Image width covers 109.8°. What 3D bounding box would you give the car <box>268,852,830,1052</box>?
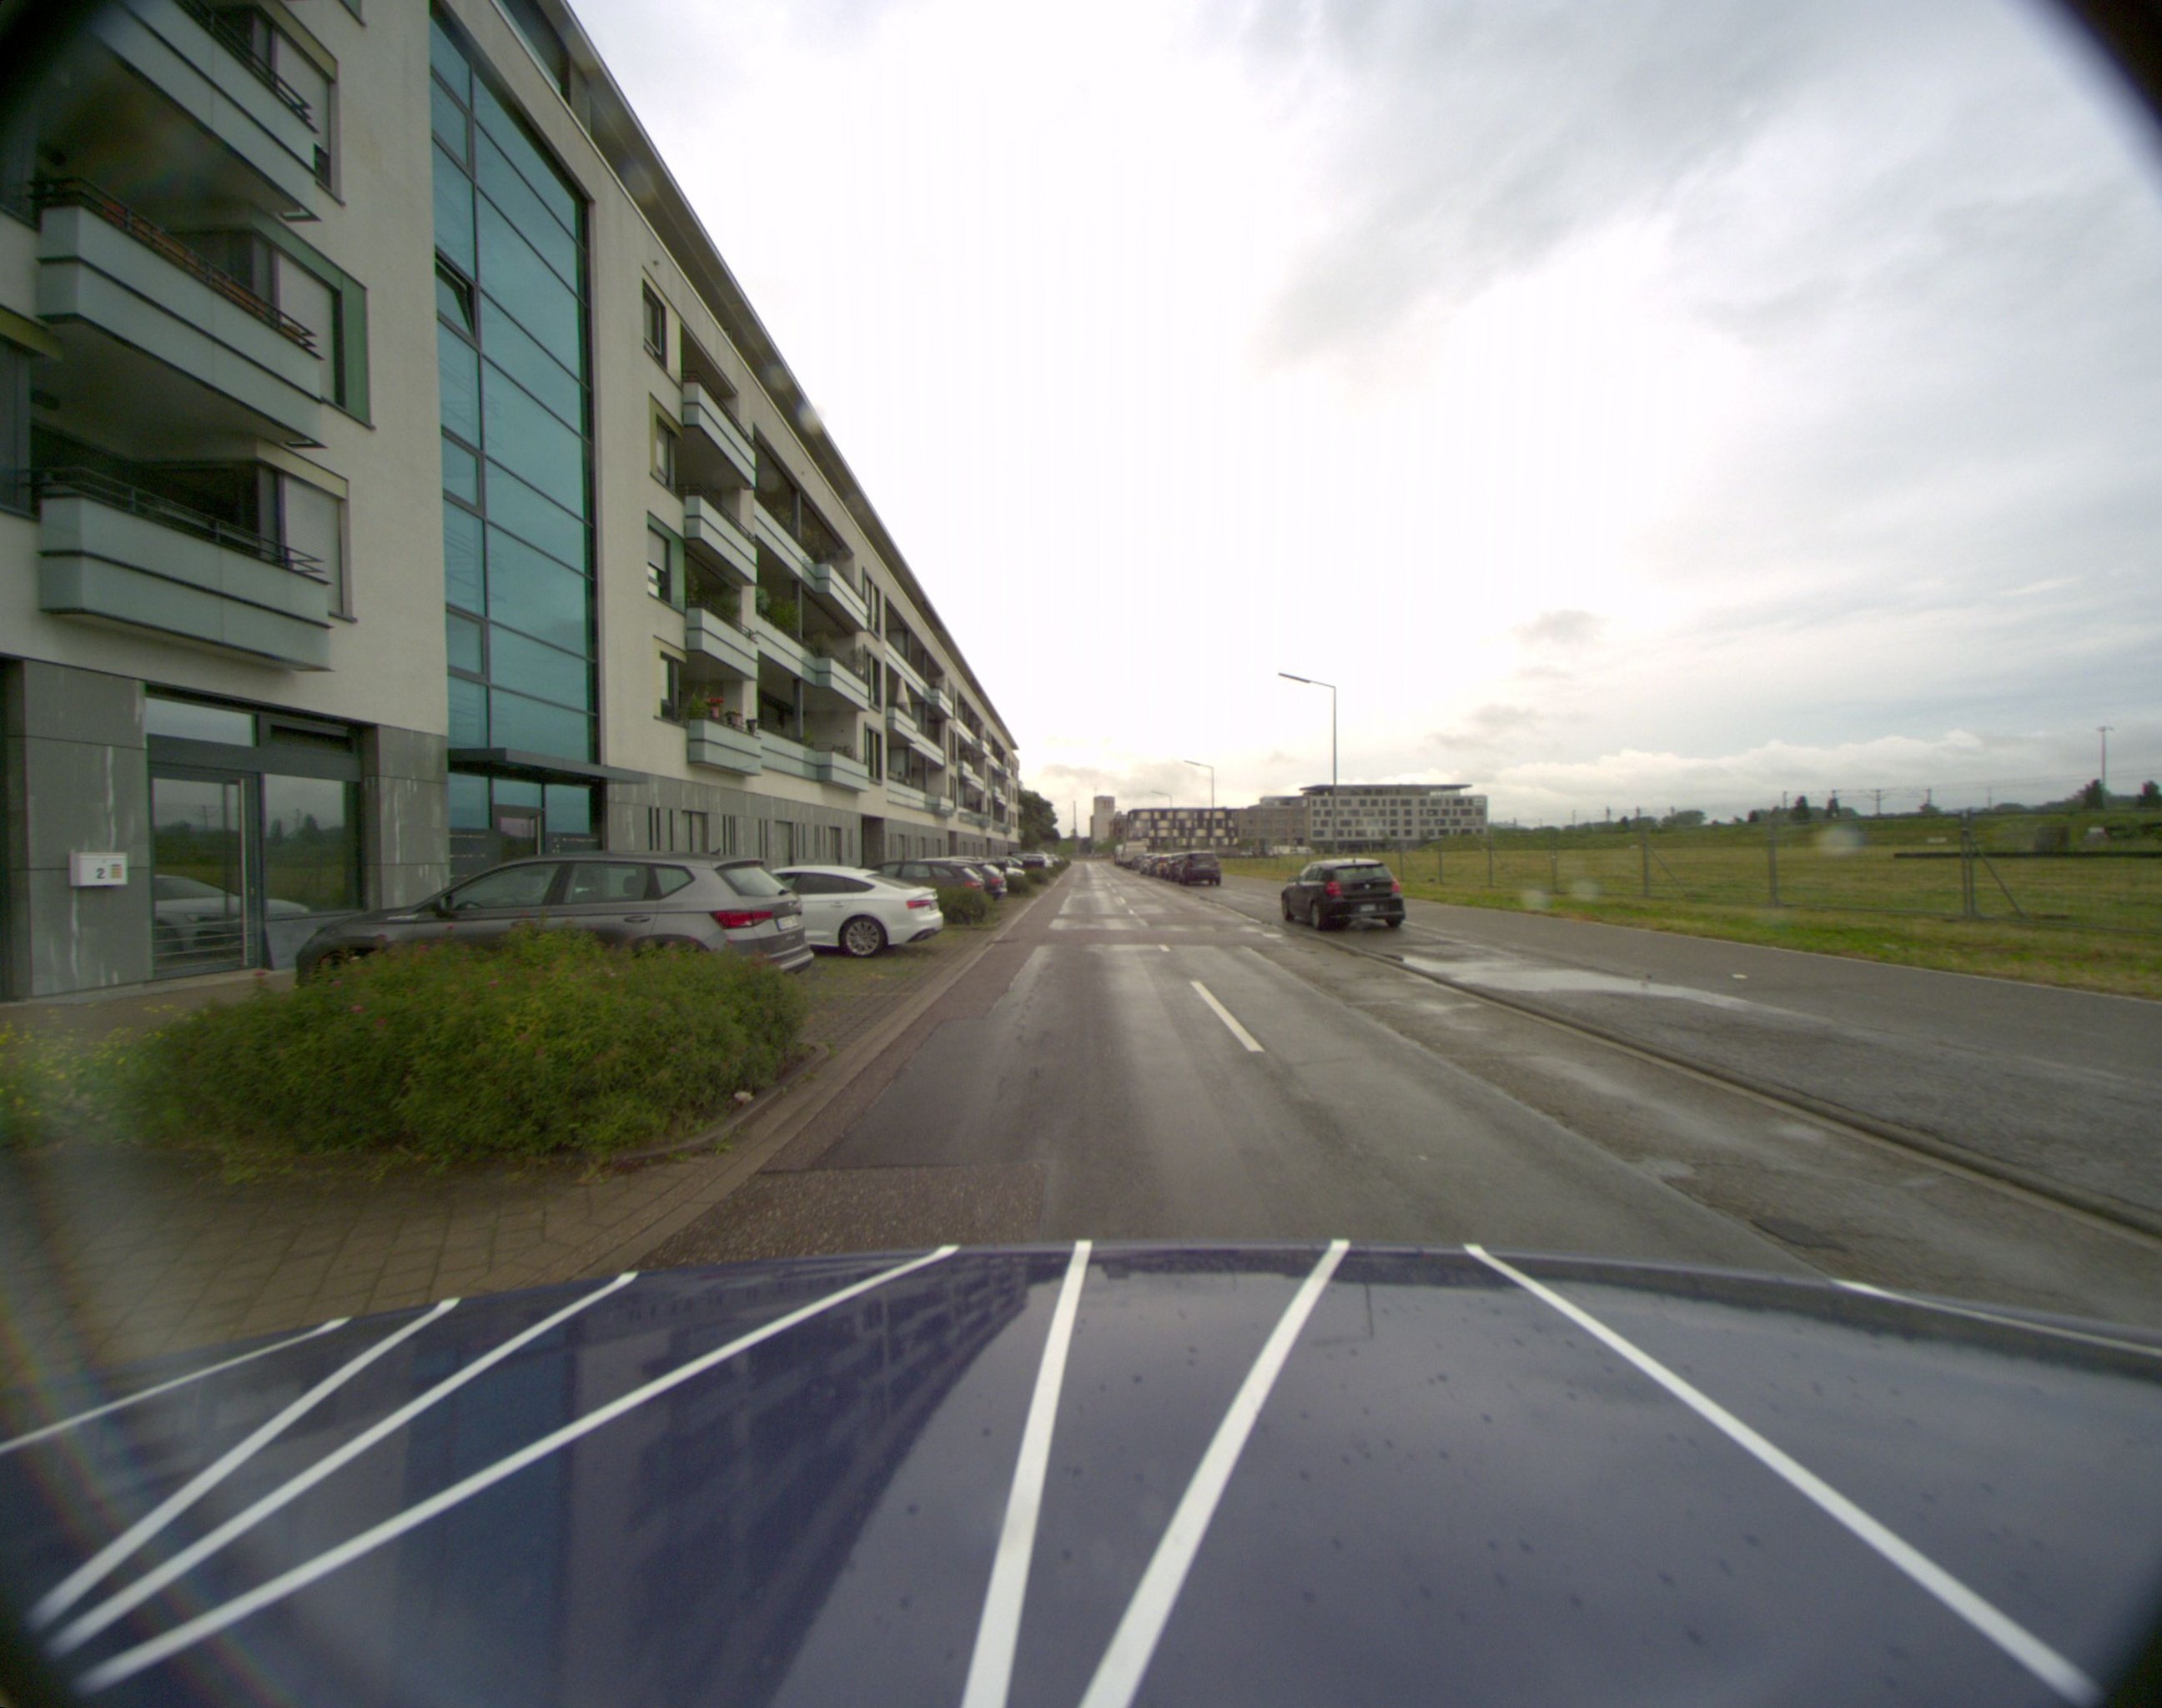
[{"bbox_3d":[-4.846,0.840,7.454,4.100,1.614,1.966,1,1,-1],"label":"car"}]

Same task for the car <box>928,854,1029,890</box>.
[{"bbox_3d":[-4.663,0.798,34.962,4.357,1.521,1.893,1,1,0],"label":"car"}]

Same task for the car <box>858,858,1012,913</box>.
[{"bbox_3d":[-4.176,0.881,22.196,4.070,1.488,2.058,0,0,1],"label":"car"}]

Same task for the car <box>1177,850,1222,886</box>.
[{"bbox_3d":[5.931,0.657,38.385,1.757,1.683,4.882,-1,0,3],"label":"car"}]

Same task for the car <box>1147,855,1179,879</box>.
[{"bbox_3d":[5.890,0.883,55.098,1.842,1.520,4.670,-3,1,1],"label":"car"}]

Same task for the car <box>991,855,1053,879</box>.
[{"bbox_3d":[-3.855,0.824,49.928,3.855,1.482,1.763,1,0,1],"label":"car"}]

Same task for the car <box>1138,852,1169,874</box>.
[{"bbox_3d":[5.813,0.723,61.454,1.857,1.598,4.988,-4,0,-1],"label":"car"}]

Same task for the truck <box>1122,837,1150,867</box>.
[{"bbox_3d":[5.970,-0.193,82.710,2.442,3.050,6.699,-2,0,0],"label":"truck"}]

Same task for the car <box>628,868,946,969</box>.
[{"bbox_3d":[-4.580,0.980,12.352,4.420,1.397,1.910,1,1,0],"label":"car"}]

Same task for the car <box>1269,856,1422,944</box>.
[{"bbox_3d":[5.593,0.887,16.660,1.852,1.552,4.152,-3,0,1],"label":"car"}]

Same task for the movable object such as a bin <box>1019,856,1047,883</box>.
[{"bbox_3d":[-2.732,0.887,43.715,1.499,1.484,1.155,2,1,1],"label":"movable object such as a bin"}]

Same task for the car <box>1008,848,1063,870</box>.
[{"bbox_3d":[-4.309,0.466,72.493,5.062,1.917,1.982,1,0,0],"label":"car"}]

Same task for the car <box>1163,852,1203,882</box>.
[{"bbox_3d":[5.836,0.712,43.864,1.757,1.581,4.133,-1,0,1],"label":"car"}]

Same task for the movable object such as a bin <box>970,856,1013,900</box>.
[{"bbox_3d":[-3.269,0.870,27.969,1.303,1.517,1.581,-2,0,1],"label":"movable object such as a bin"}]

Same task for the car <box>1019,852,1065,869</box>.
[{"bbox_3d":[-3.913,0.622,76.977,4.428,1.592,2.083,1,1,5],"label":"car"}]

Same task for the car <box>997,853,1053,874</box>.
[{"bbox_3d":[-4.347,0.731,59.630,4.218,1.634,1.686,0,1,-1],"label":"car"}]

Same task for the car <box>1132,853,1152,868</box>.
[{"bbox_3d":[5.994,0.606,74.796,1.676,1.454,4.156,-1,0,0],"label":"car"}]

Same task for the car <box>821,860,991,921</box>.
[{"bbox_3d":[-4.463,0.909,19.814,3.997,1.470,1.879,0,0,-1],"label":"car"}]

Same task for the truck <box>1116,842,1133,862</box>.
[{"bbox_3d":[6.228,-0.267,110.024,2.180,2.730,5.289,-1,0,0],"label":"truck"}]

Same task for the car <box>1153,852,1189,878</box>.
[{"bbox_3d":[5.856,0.696,49.875,1.730,1.566,4.209,-1,1,-1],"label":"car"}]

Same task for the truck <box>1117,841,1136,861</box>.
[{"bbox_3d":[6.162,-0.352,102.774,2.180,2.591,6.131,-1,0,0],"label":"truck"}]
